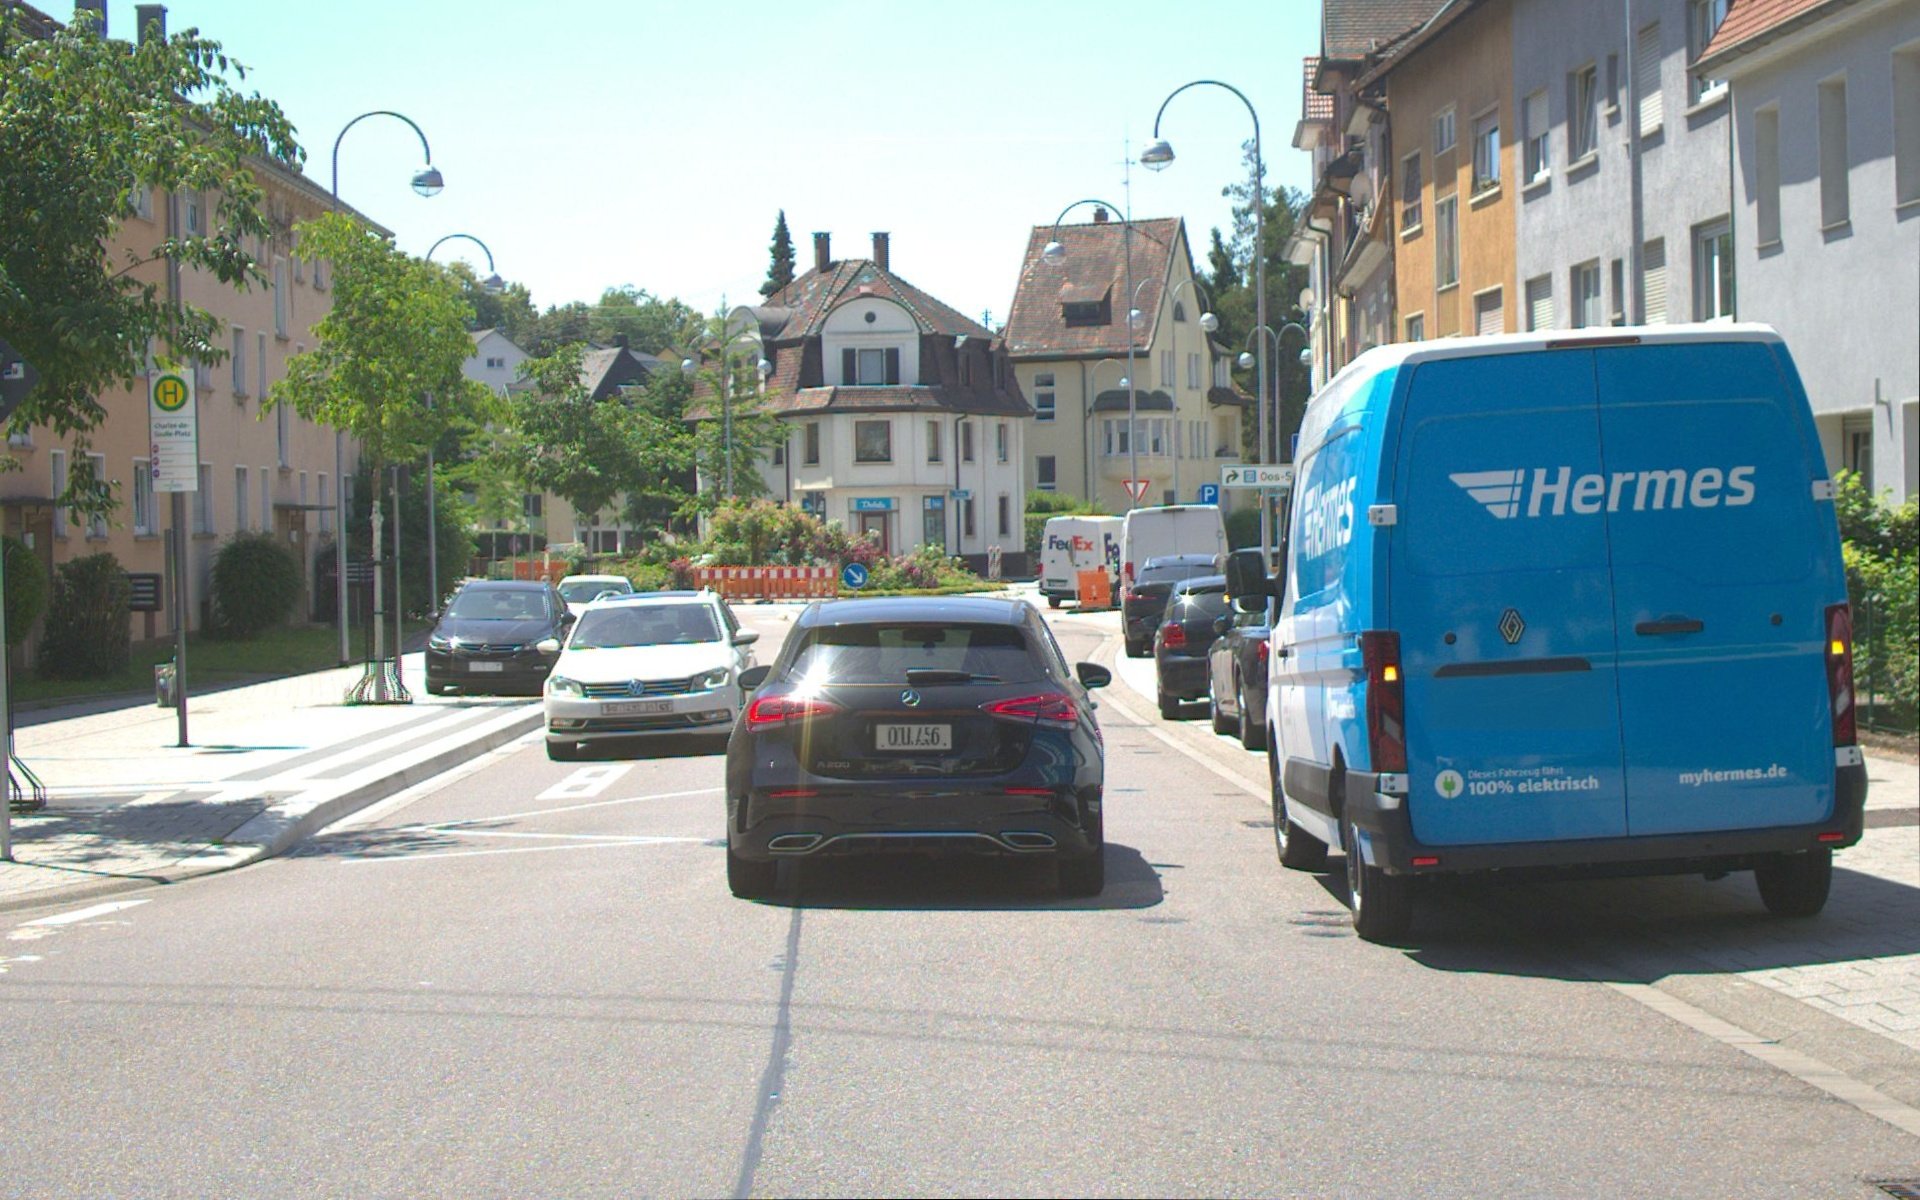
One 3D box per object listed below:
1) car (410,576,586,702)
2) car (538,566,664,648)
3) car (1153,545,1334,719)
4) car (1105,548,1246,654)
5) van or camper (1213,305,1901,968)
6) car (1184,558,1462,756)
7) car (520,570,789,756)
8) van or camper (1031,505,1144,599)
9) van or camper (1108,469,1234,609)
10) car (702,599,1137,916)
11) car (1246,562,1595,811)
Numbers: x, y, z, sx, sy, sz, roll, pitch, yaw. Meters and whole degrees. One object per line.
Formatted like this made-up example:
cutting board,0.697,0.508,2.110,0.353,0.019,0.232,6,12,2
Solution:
car,-6.180,0.483,46.429,1.857,1.501,4.563,-1,1,-2
car,-6.566,0.121,63.266,1.993,1.415,4.089,-1,0,-2
car,2.996,0.296,36.861,1.728,1.627,4.000,-3,1,4
car,3.611,-0.016,56.941,1.896,1.602,4.363,-3,1,8
van or camper,2.533,0.125,16.375,2.108,2.459,6.177,-3,0,0
car,3.138,0.439,30.619,1.803,1.470,4.721,-4,1,-1
car,-2.757,0.530,31.935,1.993,1.502,4.288,-1,1,1
van or camper,3.651,-1.374,97.748,2.207,2.601,3.997,0,1,18
van or camper,4.150,-1.220,68.469,2.165,2.580,5.766,-2,1,1
car,-0.177,0.710,17.454,1.953,1.422,4.000,0,0,0
car,3.157,0.535,24.335,1.803,1.525,4.151,-2,1,-1
